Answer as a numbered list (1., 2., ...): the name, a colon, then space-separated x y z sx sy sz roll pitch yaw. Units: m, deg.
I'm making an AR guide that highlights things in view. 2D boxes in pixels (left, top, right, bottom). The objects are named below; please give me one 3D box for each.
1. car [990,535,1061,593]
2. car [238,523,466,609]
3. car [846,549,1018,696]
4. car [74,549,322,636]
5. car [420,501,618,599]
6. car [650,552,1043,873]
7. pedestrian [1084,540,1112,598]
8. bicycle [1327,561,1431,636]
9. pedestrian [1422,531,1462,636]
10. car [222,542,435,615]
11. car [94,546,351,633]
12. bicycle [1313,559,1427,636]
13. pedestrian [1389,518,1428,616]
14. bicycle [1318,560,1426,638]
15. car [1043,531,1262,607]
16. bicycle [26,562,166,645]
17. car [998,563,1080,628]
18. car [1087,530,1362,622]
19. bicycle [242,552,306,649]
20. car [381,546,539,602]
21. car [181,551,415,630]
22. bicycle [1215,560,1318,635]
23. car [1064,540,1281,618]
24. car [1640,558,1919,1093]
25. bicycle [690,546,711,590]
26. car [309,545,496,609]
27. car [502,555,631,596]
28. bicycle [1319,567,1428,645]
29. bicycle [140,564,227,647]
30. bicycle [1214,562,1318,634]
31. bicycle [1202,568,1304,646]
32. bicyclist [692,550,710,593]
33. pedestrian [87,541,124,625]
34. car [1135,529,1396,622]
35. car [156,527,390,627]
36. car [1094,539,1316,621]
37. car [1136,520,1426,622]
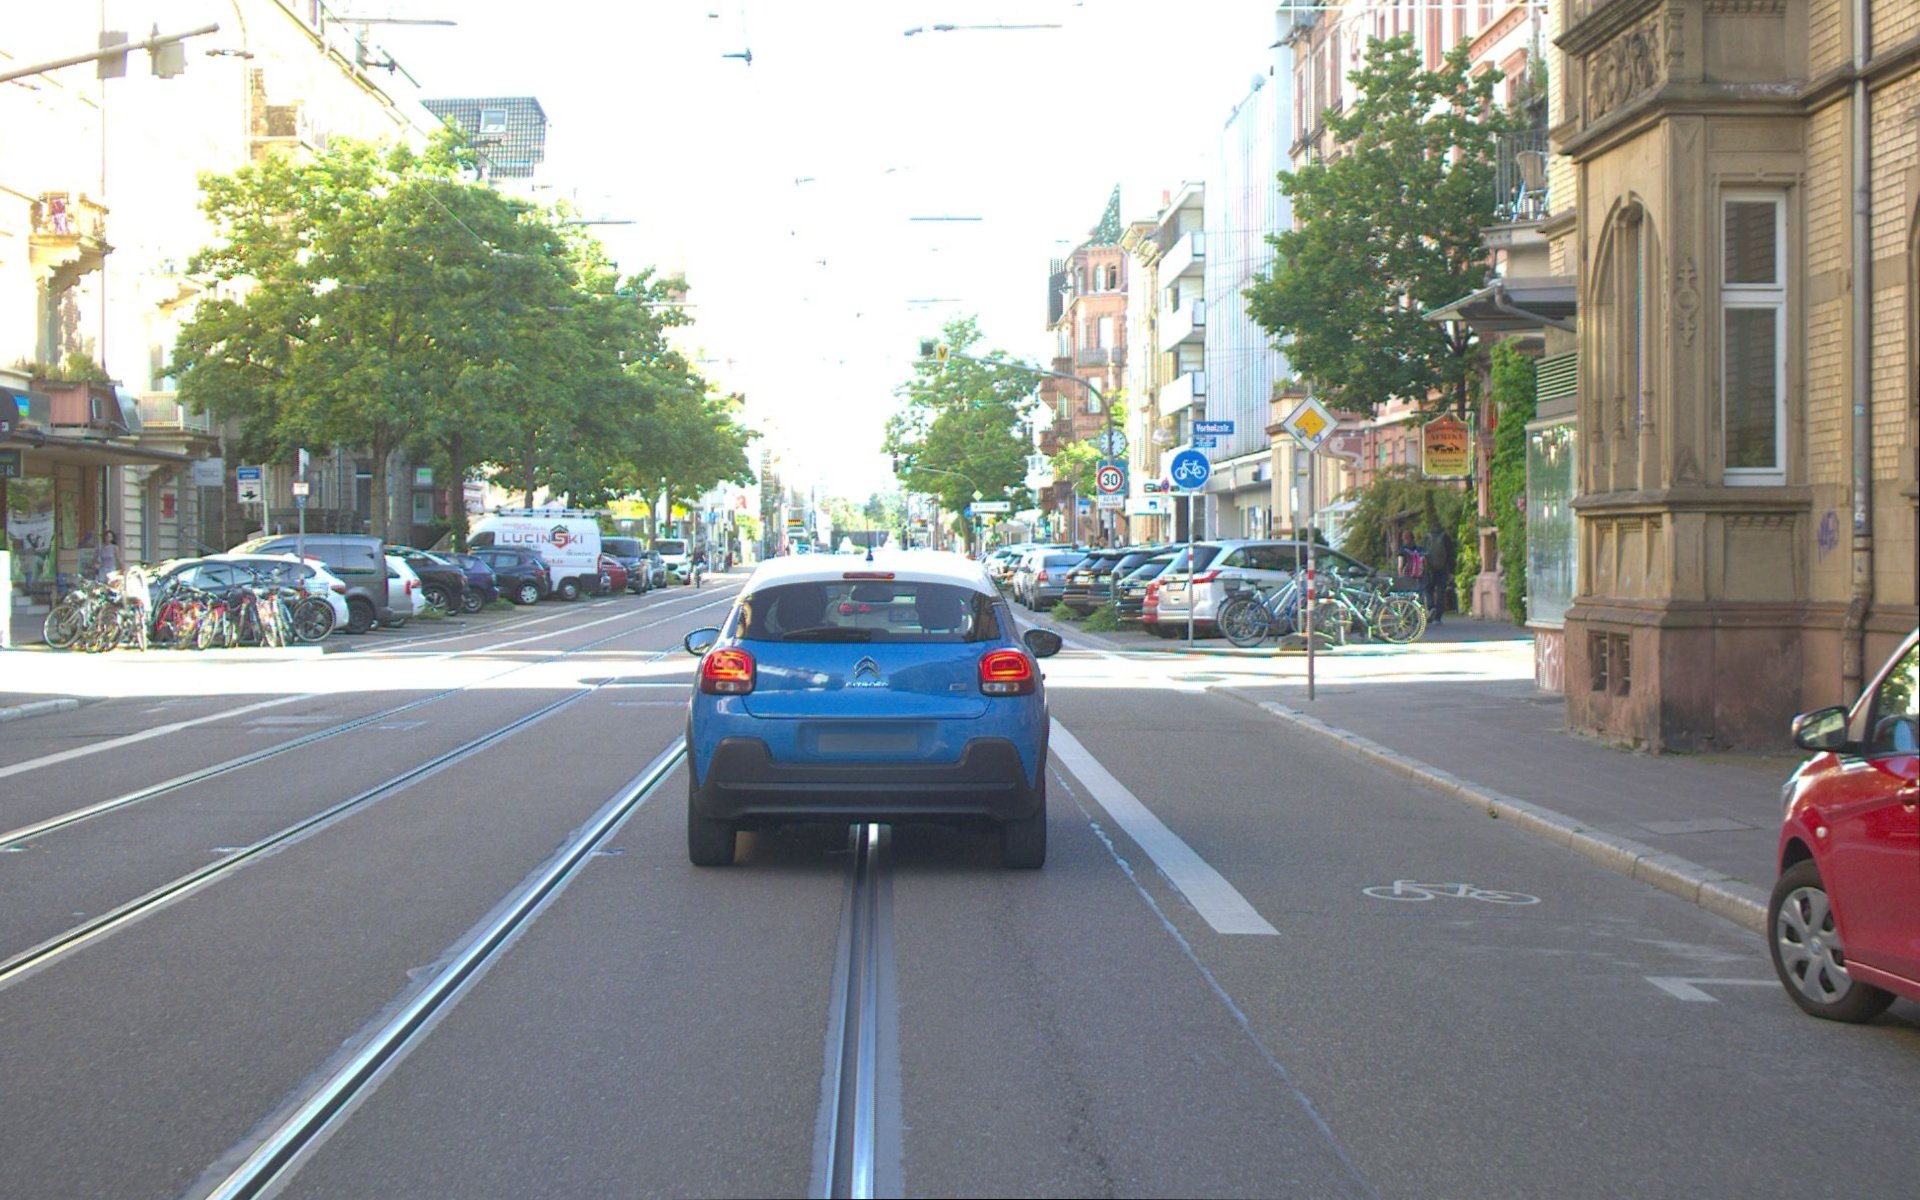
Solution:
1. car: 1.851 -1.031 97.849 1.873 1.590 4.000 1 0 -1
2. car: -12.993 -0.711 73.481 4.353 1.777 1.996 0 1 -33
3. car: -0.332 0.227 39.649 1.873 1.590 4.000 1 0 -1
4. car: -12.006 -0.123 54.221 3.460 1.333 1.624 0 1 -35
5. car: -12.712 -1.420 99.223 5.370 2.739 1.806 0 0 -31
6. car: -0.557 0.492 17.327 1.762 1.436 3.557 1 0 -1
7. pedestrian: 3.842 -0.853 95.475 0.711 1.601 0.654 1 0 -2
8. bicycle: 6.414 -0.022 52.707 1.556 1.123 0.551 1 0 6
9. pedestrian: 8.243 -0.284 58.797 0.518 1.772 0.864 1 0 -1
10. car: -12.632 -0.423 68.799 3.831 1.425 1.766 0 0 -27
11. car: -12.223 -0.173 57.006 3.780 1.395 1.755 0 1 -34
12. bicycle: 6.127 -0.044 51.399 1.675 1.123 0.551 1 0 6
13. pedestrian: 7.619 -0.555 58.443 0.518 1.643 0.864 1 0 -1
14. bicycle: 6.084 -0.015 50.820 1.556 1.123 0.528 1 0 6
15. car: 4.162 -0.671 74.455 4.302 1.590 1.983 0 0 -25
16. bicycle: -12.731 0.038 50.608 2.433 1.105 0.682 3 4 39
17. car: 1.959 -0.131 86.404 1.873 1.590 4.719 1 0 -1
18. car: 4.741 -0.426 61.614 4.433 1.590 2.089 0 0 -25
19. bicycle: -10.235 -0.008 51.378 0.681 1.315 2.436 0 3 -5
20. car: -13.562 -0.706 93.217 3.986 1.484 1.807 0 0 -17
21. car: -12.593 -0.178 65.453 4.006 1.444 1.699 0 1 -33
22. bicycle: 4.698 -0.040 52.695 1.560 1.123 0.294 1 0 6
23. car: 4.443 -0.433 71.891 3.986 1.590 2.088 0 0 -25
24. car: 3.601 0.608 10.859 1.865 1.477 4.401 -3 1 -1
25. bicycle: -10.020 -1.230 132.959 0.680 1.673 2.097 1 0 -1
26. car: -13.251 -0.538 81.736 3.986 1.484 1.806 0 1 -29
27. car: -12.524 -0.776 109.393 3.796 1.261 1.516 0 0 -26
28. bicycle: 6.039 0.087 50.238 1.556 1.123 0.551 1 0 6
29. bicycle: -11.576 0.070 51.217 0.681 1.119 1.888 -1 3 -32
30. bicycle: 4.661 -0.029 52.342 1.556 1.075 0.307 1 0 6
31. bicycle: 4.299 0.105 50.489 1.397 1.123 0.551 1 0 -8
32. bicyclist: -10.023 -1.109 133.090 0.634 1.676 0.727 1 0 -1
33. pedestrian: -17.002 -0.339 68.415 0.569 1.647 0.641 1 0 -1
34. car: 5.198 -0.411 58.556 3.986 1.531 1.919 0 0 -25
35. car: -12.545 -0.418 62.813 3.810 1.778 1.797 0 0 -29
36. car: 4.920 -0.402 69.030 3.986 1.590 1.960 0 0 -25
37. car: 5.233 -0.464 55.951 4.350 1.590 1.854 0 0 -25
